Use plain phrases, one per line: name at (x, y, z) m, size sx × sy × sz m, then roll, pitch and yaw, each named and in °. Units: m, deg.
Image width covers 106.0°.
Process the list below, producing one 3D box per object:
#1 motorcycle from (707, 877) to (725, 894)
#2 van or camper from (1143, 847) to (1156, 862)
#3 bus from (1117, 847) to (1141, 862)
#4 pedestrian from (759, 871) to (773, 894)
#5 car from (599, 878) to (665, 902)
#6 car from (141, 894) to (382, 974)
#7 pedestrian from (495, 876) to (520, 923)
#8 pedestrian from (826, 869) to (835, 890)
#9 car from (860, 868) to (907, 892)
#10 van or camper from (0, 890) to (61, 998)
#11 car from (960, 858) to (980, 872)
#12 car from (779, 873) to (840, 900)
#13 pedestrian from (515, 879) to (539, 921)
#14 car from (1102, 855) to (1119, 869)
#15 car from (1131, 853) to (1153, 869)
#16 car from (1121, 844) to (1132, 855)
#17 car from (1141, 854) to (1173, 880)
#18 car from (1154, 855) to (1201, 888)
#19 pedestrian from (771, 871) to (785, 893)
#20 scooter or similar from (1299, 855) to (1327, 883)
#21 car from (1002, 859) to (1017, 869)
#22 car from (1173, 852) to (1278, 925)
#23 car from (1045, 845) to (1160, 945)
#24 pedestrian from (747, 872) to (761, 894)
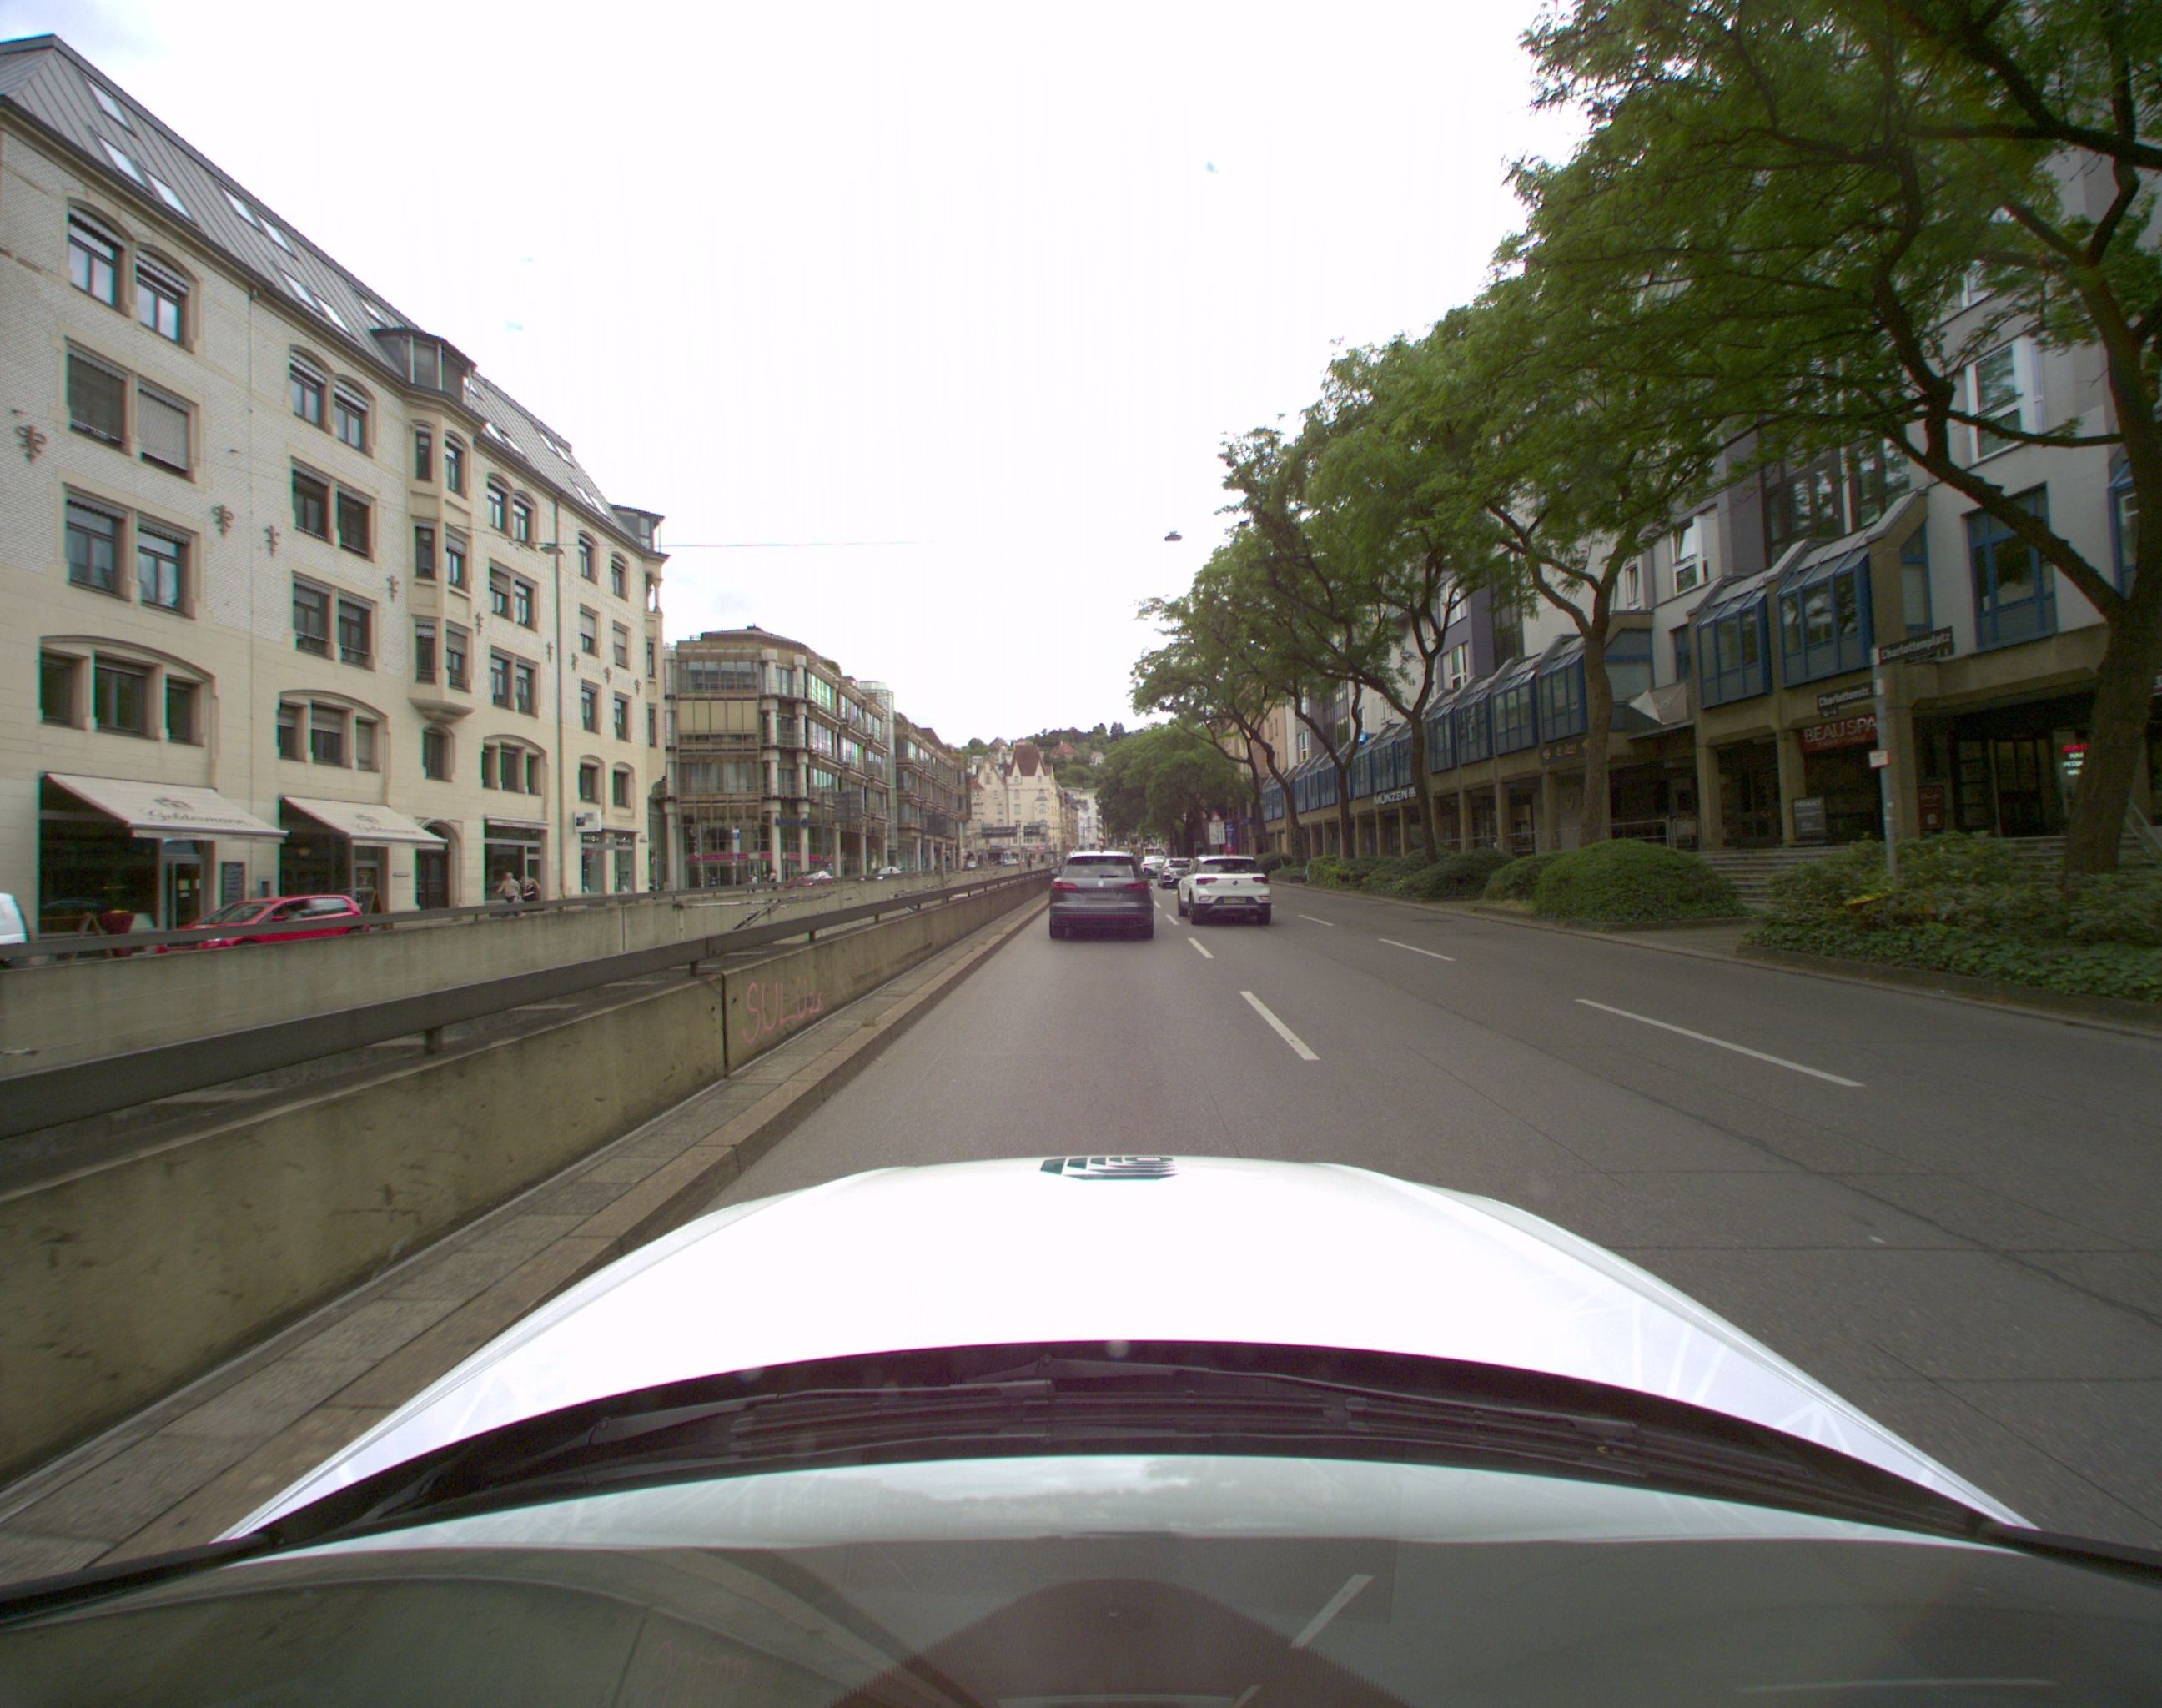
motorcycle at (-29.398, 2.511, 65.609) m, size 0.791 × 1.257 × 1.931 m, roll -2°, pitch 0°, yaw -10°
van or camper at (15.642, 0.167, 184.902) m, size 2.613 × 3.178 × 5.814 m, roll -2°, pitch 0°, yaw 7°
bus at (11.729, 0.108, 197.914) m, size 3.826 × 3.532 × 17.292 m, roll -2°, pitch 0°, yaw 10°
pedestrian at (-22.490, 2.028, 58.101) m, size 0.699 × 1.544 × 0.845 m, roll -2°, pitch 0°, yaw -6°
car at (-30.132, 2.392, 54.673) m, size 3.433 × 1.436 × 1.650 m, roll -2°, pitch 0°, yaw 1°
car at (-18.407, 1.726, 18.551) m, size 1.781 × 1.406 × 3.583 m, roll -2°, pitch 0°, yaw 0°
pedestrian at (-22.057, 1.733, 31.320) m, size 0.477 × 1.757 × 0.584 m, roll -3°, pitch 0°, yaw 2°
pedestrian at (-21.261, 2.135, 69.033) m, size 0.530 × 1.793 × 0.695 m, roll 0°, pitch -1°, yaw 3°
car at (-14.751, 1.914, 61.080) m, size 1.984 × 1.585 × 4.893 m, roll -2°, pitch 0°, yaw 4°
van or camper at (-18.784, 1.520, 11.961) m, size 1.861 × 1.751 × 4.487 m, roll -2°, pitch 0°, yaw 1°
car at (-15.192, 1.528, 111.492) m, size 1.986 × 1.768 × 4.282 m, roll -2°, pitch 0°, yaw 2°
car at (-16.993, 2.009, 51.243) m, size 1.985 × 1.464 × 4.889 m, roll -2°, pitch 0°, yaw 3°
pedestrian at (-21.338, 1.761, 31.376) m, size 0.478 × 1.537 × 0.583 m, roll -3°, pitch 0°, yaw 1°
car at (3.642, 0.969, 99.962) m, size 1.826 × 1.567 × 3.766 m, roll -3°, pitch -1°, yaw -1°
car at (5.672, 0.649, 76.101) m, size 1.825 × 1.363 × 3.768 m, roll -3°, pitch -1°, yaw 2°
car at (8.451, -0.778, 150.688) m, size 1.824 × 1.874 × 4.875 m, roll -3°, pitch -1°, yaw 3°
car at (4.978, 0.838, 53.718) m, size 1.825 × 1.517 × 3.769 m, roll -3°, pitch -1°, yaw 2°
car at (4.495, 0.832, 38.405) m, size 1.826 × 1.432 × 4.149 m, roll -1°, pitch -1°, yaw 2°
pedestrian at (-21.667, 1.992, 58.310) m, size 0.699 × 1.544 × 0.845 m, roll -2°, pitch 0°, yaw -6°
scooter or similar at (10.323, 0.682, 36.305) m, size 1.100 × 1.181 × 0.429 m, roll -4°, pitch 0°, yaw 12°
car at (-12.923, 1.823, 147.119) m, size 1.986 × 1.768 × 4.282 m, roll -2°, pitch 0°, yaw 2°
car at (3.317, 0.763, 19.377) m, size 1.792 × 1.545 × 3.934 m, roll 0°, pitch -1°, yaw 0°
car at (0.349, 0.726, 16.312) m, size 1.964 × 1.695 × 4.223 m, roll -1°, pitch 0°, yaw -1°
pedestrian at (-23.311, 2.069, 58.047) m, size 0.699 × 1.544 × 0.845 m, roll -2°, pitch 0°, yaw -6°
